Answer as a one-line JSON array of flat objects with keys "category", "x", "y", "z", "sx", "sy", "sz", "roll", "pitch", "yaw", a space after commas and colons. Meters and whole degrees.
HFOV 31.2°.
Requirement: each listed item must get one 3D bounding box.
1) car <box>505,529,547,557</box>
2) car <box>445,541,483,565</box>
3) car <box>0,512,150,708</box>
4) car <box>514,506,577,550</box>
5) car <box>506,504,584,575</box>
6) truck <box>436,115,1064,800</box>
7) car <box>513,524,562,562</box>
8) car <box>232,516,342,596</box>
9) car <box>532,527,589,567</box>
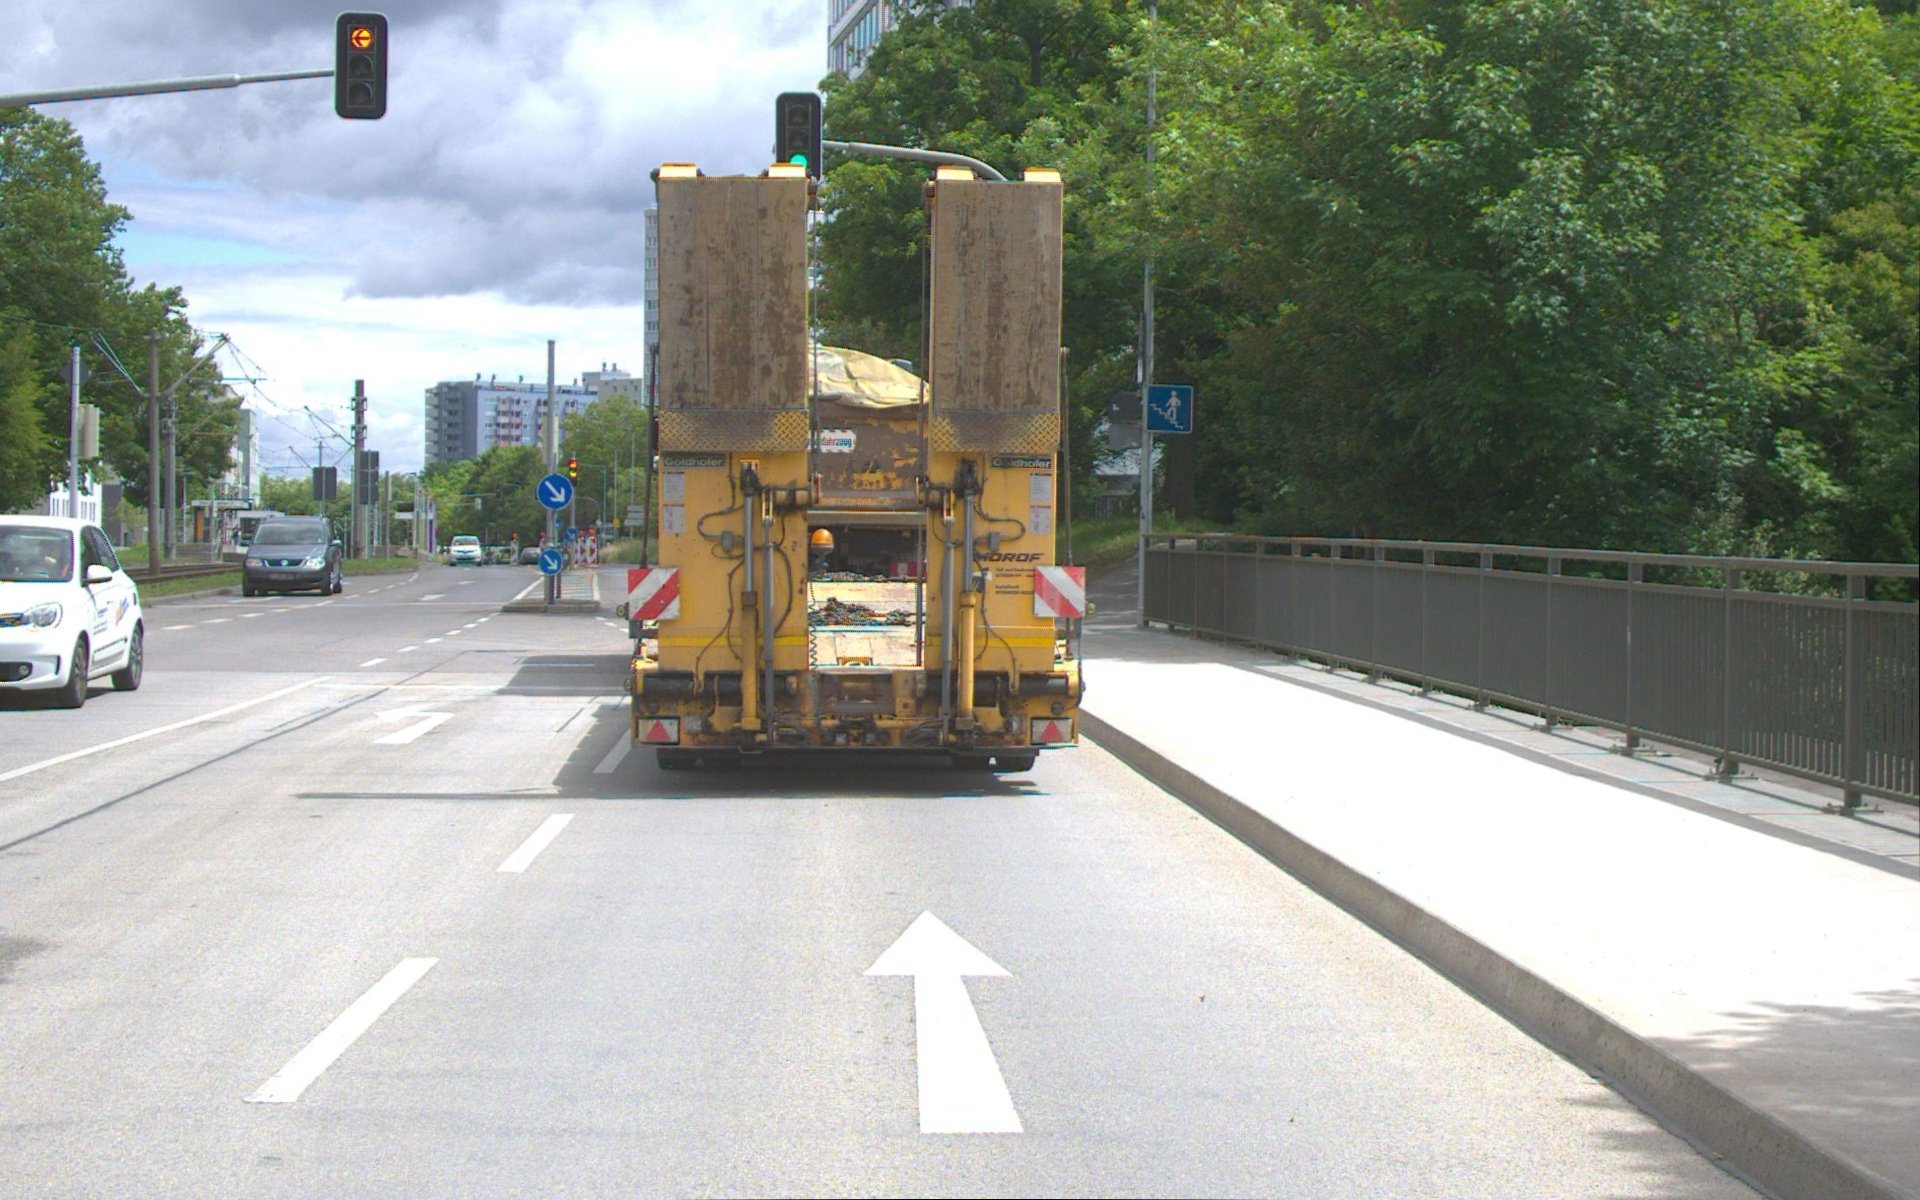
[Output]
[{"category": "car", "x": -20.310, "y": -2.664, "z": 160.923, "sx": 1.783, "sy": 1.267, "sz": 4.346, "roll": 1, "pitch": 1, "yaw": -6}, {"category": "car", "x": -26.283, "y": -2.504, "z": 182.350, "sx": 1.783, "sy": 1.267, "sz": 4.346, "roll": 1, "pitch": 1, "yaw": -6}, {"category": "car", "x": -7.892, "y": 0.036, "z": 28.627, "sx": 1.593, "sy": 1.521, "sz": 3.656, "roll": 1, "pitch": 1, "yaw": -3}, {"category": "car", "x": -14.738, "y": -2.566, "z": 122.316, "sx": 1.993, "sy": 1.415, "sz": 4.001, "roll": 3, "pitch": 1, "yaw": -5}, {"category": "car", "x": -11.977, "y": -1.748, "z": 99.351, "sx": 1.993, "sy": 1.919, "sz": 4.001, "roll": 3, "pitch": 1, "yaw": -5}, {"category": "truck", "x": -1.101, "y": -0.898, "z": 25.163, "sx": 3.316, "sy": 3.638, "sz": 12.562, "roll": 2, "pitch": 1, "yaw": 0}, {"category": "car", "x": -19.244, "y": -2.597, "z": 156.737, "sx": 1.993, "sy": 1.612, "sz": 4.001, "roll": 3, "pitch": 1, "yaw": -5}, {"category": "car", "x": -13.722, "y": -0.912, "z": 70.269, "sx": 1.783, "sy": 1.564, "sz": 4.346, "roll": 1, "pitch": 1, "yaw": -6}, {"category": "car", "x": -15.357, "y": -2.062, "z": 132.309, "sx": 1.993, "sy": 1.415, "sz": 4.001, "roll": 3, "pitch": 1, "yaw": -5}]
